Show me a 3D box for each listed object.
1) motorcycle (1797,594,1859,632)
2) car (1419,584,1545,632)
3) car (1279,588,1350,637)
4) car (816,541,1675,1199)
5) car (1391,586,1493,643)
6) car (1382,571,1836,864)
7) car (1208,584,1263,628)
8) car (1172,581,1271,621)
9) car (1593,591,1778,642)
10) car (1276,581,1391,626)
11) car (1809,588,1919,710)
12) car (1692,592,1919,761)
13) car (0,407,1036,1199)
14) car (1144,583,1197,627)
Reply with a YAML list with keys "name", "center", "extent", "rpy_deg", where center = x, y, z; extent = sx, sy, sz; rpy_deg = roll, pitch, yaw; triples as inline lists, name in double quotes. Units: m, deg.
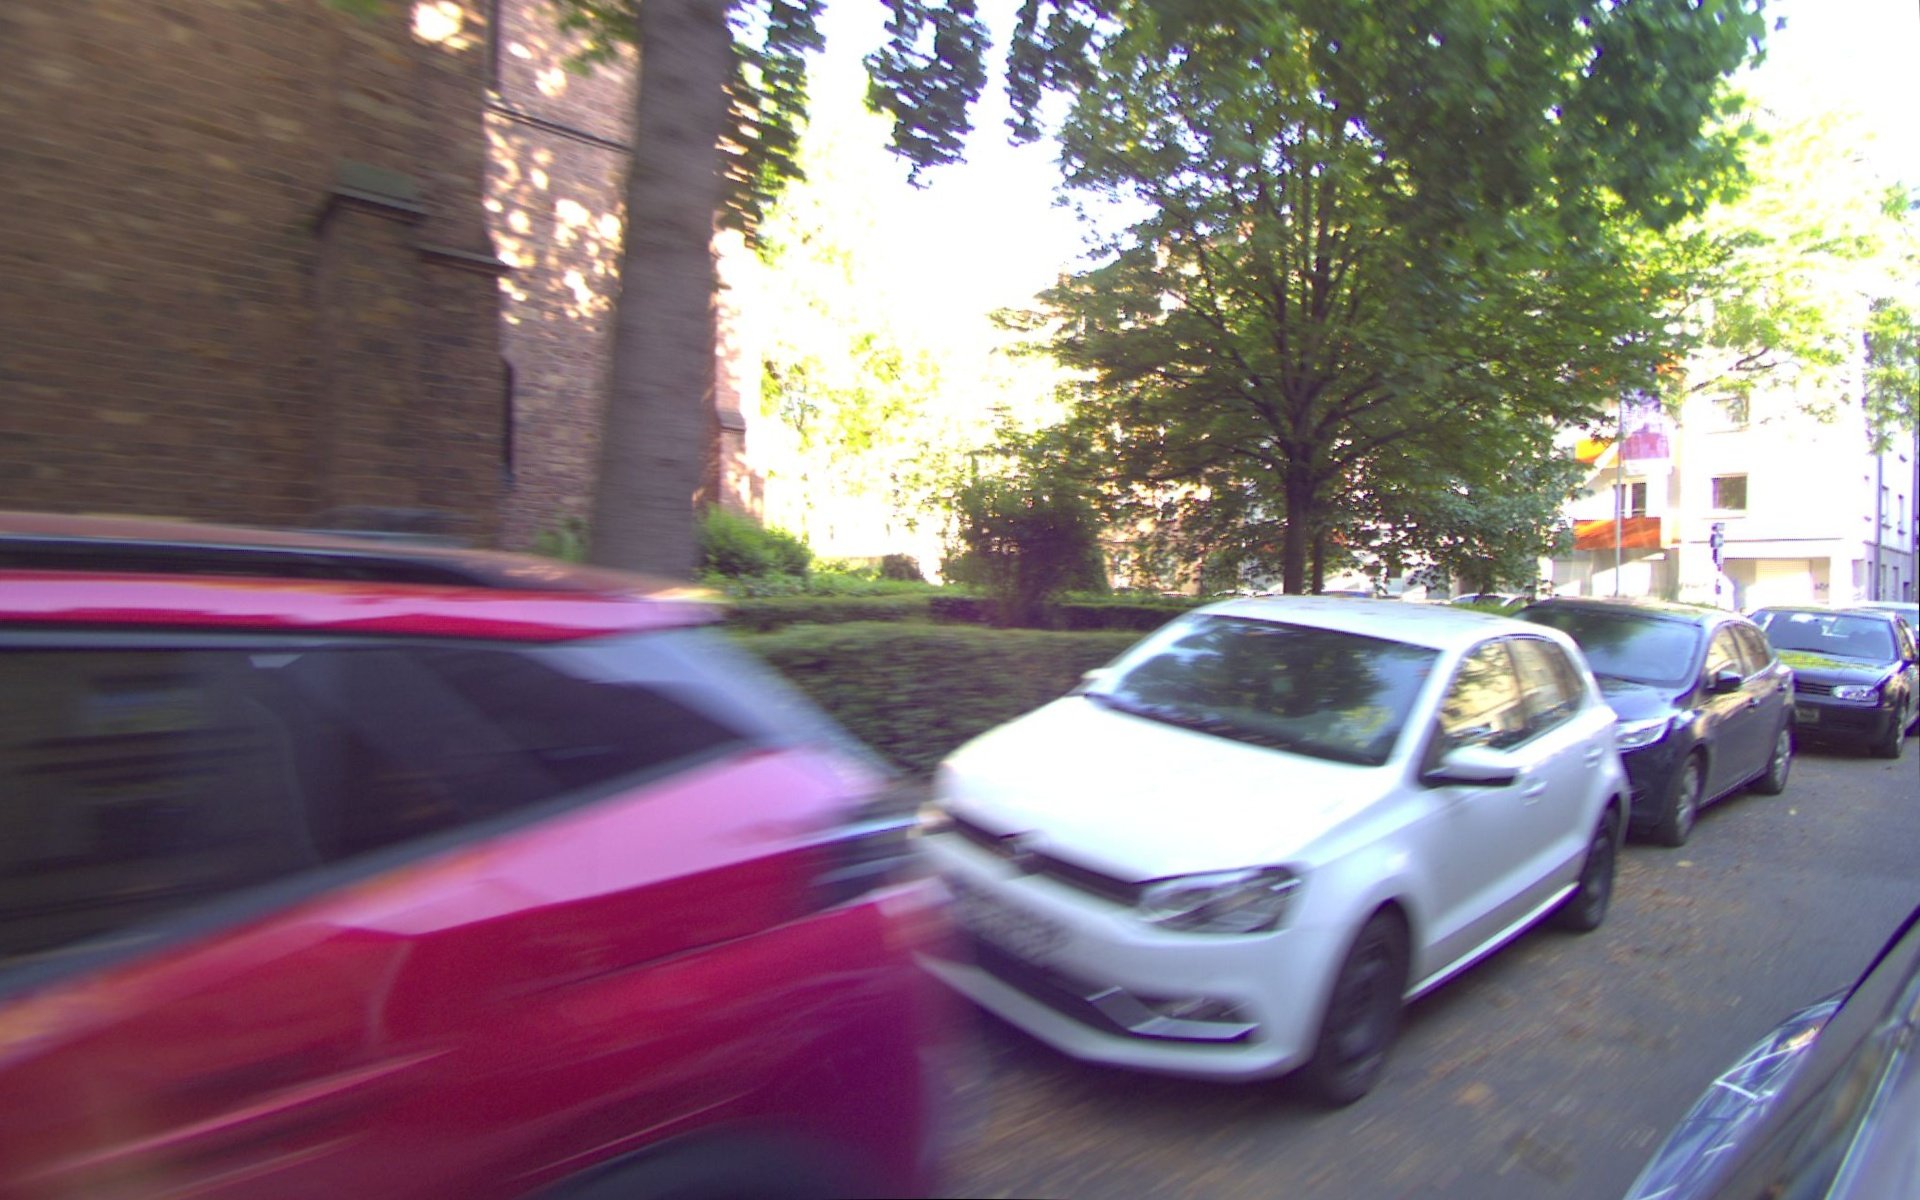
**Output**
- name: "motorcycle"
  center: [27.490, 0.402, 32.044]
  extent: [1.467, 1.131, 0.894]
  rpy_deg: [1, 1, 43]
- name: "car"
  center: [18.661, 0.237, 36.288]
  extent: [1.622, 1.577, 3.692]
  rpy_deg: [-3, 3, -41]
- name: "car"
  center: [11.549, 0.363, 33.224]
  extent: [1.756, 1.449, 4.398]
  rpy_deg: [0, 1, 14]
- name: "car"
  center: [1.495, 0.613, 4.315]
  extent: [3.885, 1.537, 1.667]
  rpy_deg: [-1, 6, -43]
- name: "car"
  center: [13.794, 0.362, 29.213]
  extent: [1.756, 1.449, 4.398]
  rpy_deg: [0, 1, 14]
- name: "car"
  center: [5.028, 0.627, 7.628]
  extent: [3.988, 1.537, 1.669]
  rpy_deg: [-1, 6, -40]
- name: "car"
  center: [9.786, 0.181, 36.141]
  extent: [1.756, 1.449, 4.398]
  rpy_deg: [0, 1, 14]
- name: "car"
  center: [11.456, 0.000, 44.435]
  extent: [1.622, 1.598, 3.997]
  rpy_deg: [-3, 3, -41]
- name: "car"
  center: [22.504, 0.446, 31.520]
  extent: [1.751, 1.449, 4.408]
  rpy_deg: [0, 1, -41]
- name: "car"
  center: [14.839, 0.082, 40.320]
  extent: [1.622, 1.636, 4.032]
  rpy_deg: [-3, 3, -41]
- name: "car"
  center: [13.790, 0.639, 14.703]
  extent: [3.766, 1.538, 1.712]
  rpy_deg: [-1, 3, -42]
- name: "car"
  center: [9.523, 0.679, 11.105]
  extent: [3.935, 1.454, 1.624]
  rpy_deg: [-1, 3, -42]
- name: "car"
  center: [-2.008, 0.575, 0.905]
  extent: [4.027, 1.604, 1.669]
  rpy_deg: [-1, 6, -39]
- name: "car"
  center: [7.695, 0.134, 36.736]
  extent: [1.756, 1.449, 4.398]
  rpy_deg: [0, 1, 14]
